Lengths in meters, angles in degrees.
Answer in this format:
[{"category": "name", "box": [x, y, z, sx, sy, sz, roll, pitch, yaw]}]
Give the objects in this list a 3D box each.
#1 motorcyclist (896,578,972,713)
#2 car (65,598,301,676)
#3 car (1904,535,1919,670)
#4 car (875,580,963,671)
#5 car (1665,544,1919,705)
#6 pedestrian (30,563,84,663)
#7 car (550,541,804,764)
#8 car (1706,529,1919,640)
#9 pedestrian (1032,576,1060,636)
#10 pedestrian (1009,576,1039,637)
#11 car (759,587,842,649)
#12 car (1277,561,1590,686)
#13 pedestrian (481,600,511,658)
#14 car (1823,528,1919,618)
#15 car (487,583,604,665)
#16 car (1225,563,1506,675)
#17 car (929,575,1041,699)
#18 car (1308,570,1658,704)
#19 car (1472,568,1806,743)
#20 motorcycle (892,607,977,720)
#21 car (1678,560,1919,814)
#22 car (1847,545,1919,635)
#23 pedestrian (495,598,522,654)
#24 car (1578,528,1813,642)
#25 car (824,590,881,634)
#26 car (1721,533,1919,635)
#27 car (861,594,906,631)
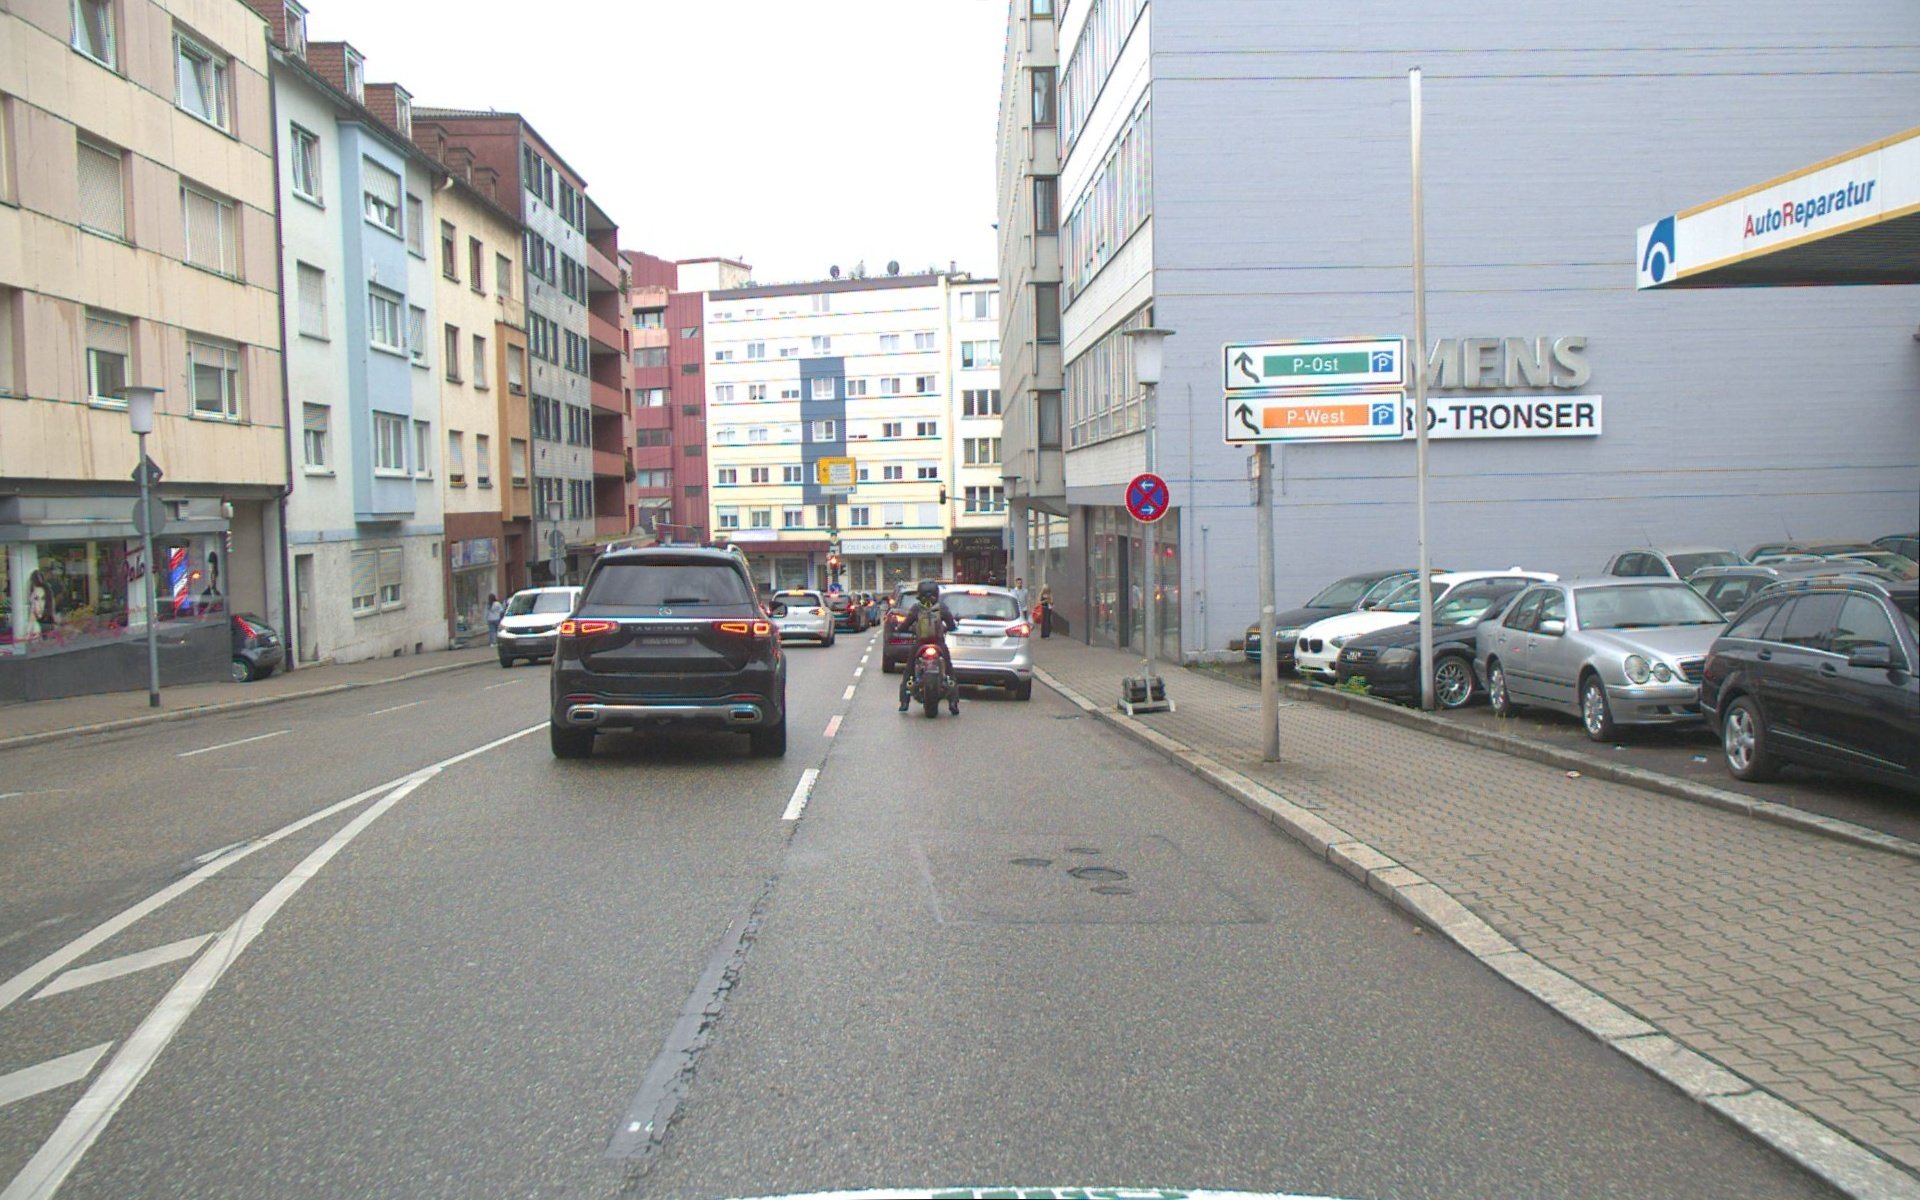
[{"category": "motorcyclist", "box": [-0.320, 0.544, 19.951, 0.850, 1.587, 0.763, -1, -1, -5]}, {"category": "car", "box": [-15.645, 0.733, 33.475, 3.908, 1.525, 1.798, 0, -1, -4]}, {"category": "car", "box": [11.880, 0.014, 17.550, 1.521, 1.539, 3.517, 0, -1, -5]}, {"category": "car", "box": [-0.796, 0.426, 30.639, 1.492, 1.575, 3.105, 0, 1, -4]}, {"category": "car", "box": [8.947, 0.258, 17.577, 1.496, 1.539, 3.392, 0, -1, 1]}, {"category": "pedestrian", "box": [-16.308, 0.223, 29.880, 0.587, 1.759, 0.571, -1, 4, -5]}, {"category": "car", "box": [-2.582, 0.406, 15.639, 1.983, 1.770, 4.739, 1, 0, -8]}, {"category": "car", "box": [13.410, -0.201, 26.149, 1.422, 1.625, 3.387, 0, -1, -7]}, {"category": "pedestrian", "box": [2.394, 0.165, 46.242, 0.703, 1.639, 0.610, -1, 2, -5]}, {"category": "pedestrian", "box": [1.752, 0.175, 45.303, 0.754, 1.639, 0.703, -1, 2, -5]}, {"category": "car", "box": [-4.230, 0.440, 44.360, 1.846, 1.529, 4.398, 1, 1, -1]}, {"category": "car", "box": [6.563, 0.334, 22.983, 3.929, 1.625, 1.788, 1, -1, -21]}, {"category": "pedestrian", "box": [-14.063, 0.881, 50.164, 0.725, 1.680, 0.605, -1, 4, -5]}, {"category": "car", "box": [15.513, -0.416, 26.436, 1.424, 1.377, 3.349, 0, -1, -7]}, {"category": "car", "box": [-9.945, 0.521, 40.038, 1.832, 1.783, 4.397, -3, 1, -3]}, {"category": "car", "box": [6.261, 0.315, 25.557, 3.929, 1.625, 1.788, 1, -1, -21]}, {"category": "car", "box": [0.321, 0.484, 24.257, 1.388, 1.679, 3.105, 0, 1, -4]}, {"category": "car", "box": [6.441, 0.454, 20.398, 3.929, 1.521, 1.722, 1, -1, -21]}, {"category": "car", "box": [6.500, 0.461, 16.327, 1.534, 1.503, 4.068, 0, 1, -2]}, {"category": "motorcycle", "box": [-0.336, 0.722, 19.927, 0.850, 1.207, 2.559, -1, 1, -4]}, {"category": "car", "box": [6.554, 0.511, 10.817, 1.760, 1.503, 4.485, 0, 1, 0]}, {"category": "car", "box": [13.746, -0.128, 22.366, 1.422, 1.223, 3.387, 0, -1, -7]}, {"category": "pedestrian", "box": [-13.942, 0.801, 51.078, 0.658, 1.680, 0.605, -1, 4, -5]}, {"category": "car", "box": [11.282, -0.187, 25.660, 1.613, 1.625, 3.861, 0, -1, -7]}, {"category": "car", "box": [-3.917, 0.424, 60.968, 1.846, 1.529, 4.398, 1, 1, -1]}, {"category": "car", "box": [11.607, -0.169, 21.667, 1.422, 1.223, 3.387, 0, -1, -7]}, {"category": "car", "box": [-3.381, 0.544, 73.548, 1.846, 1.529, 4.398, 1, 1, -1]}]
